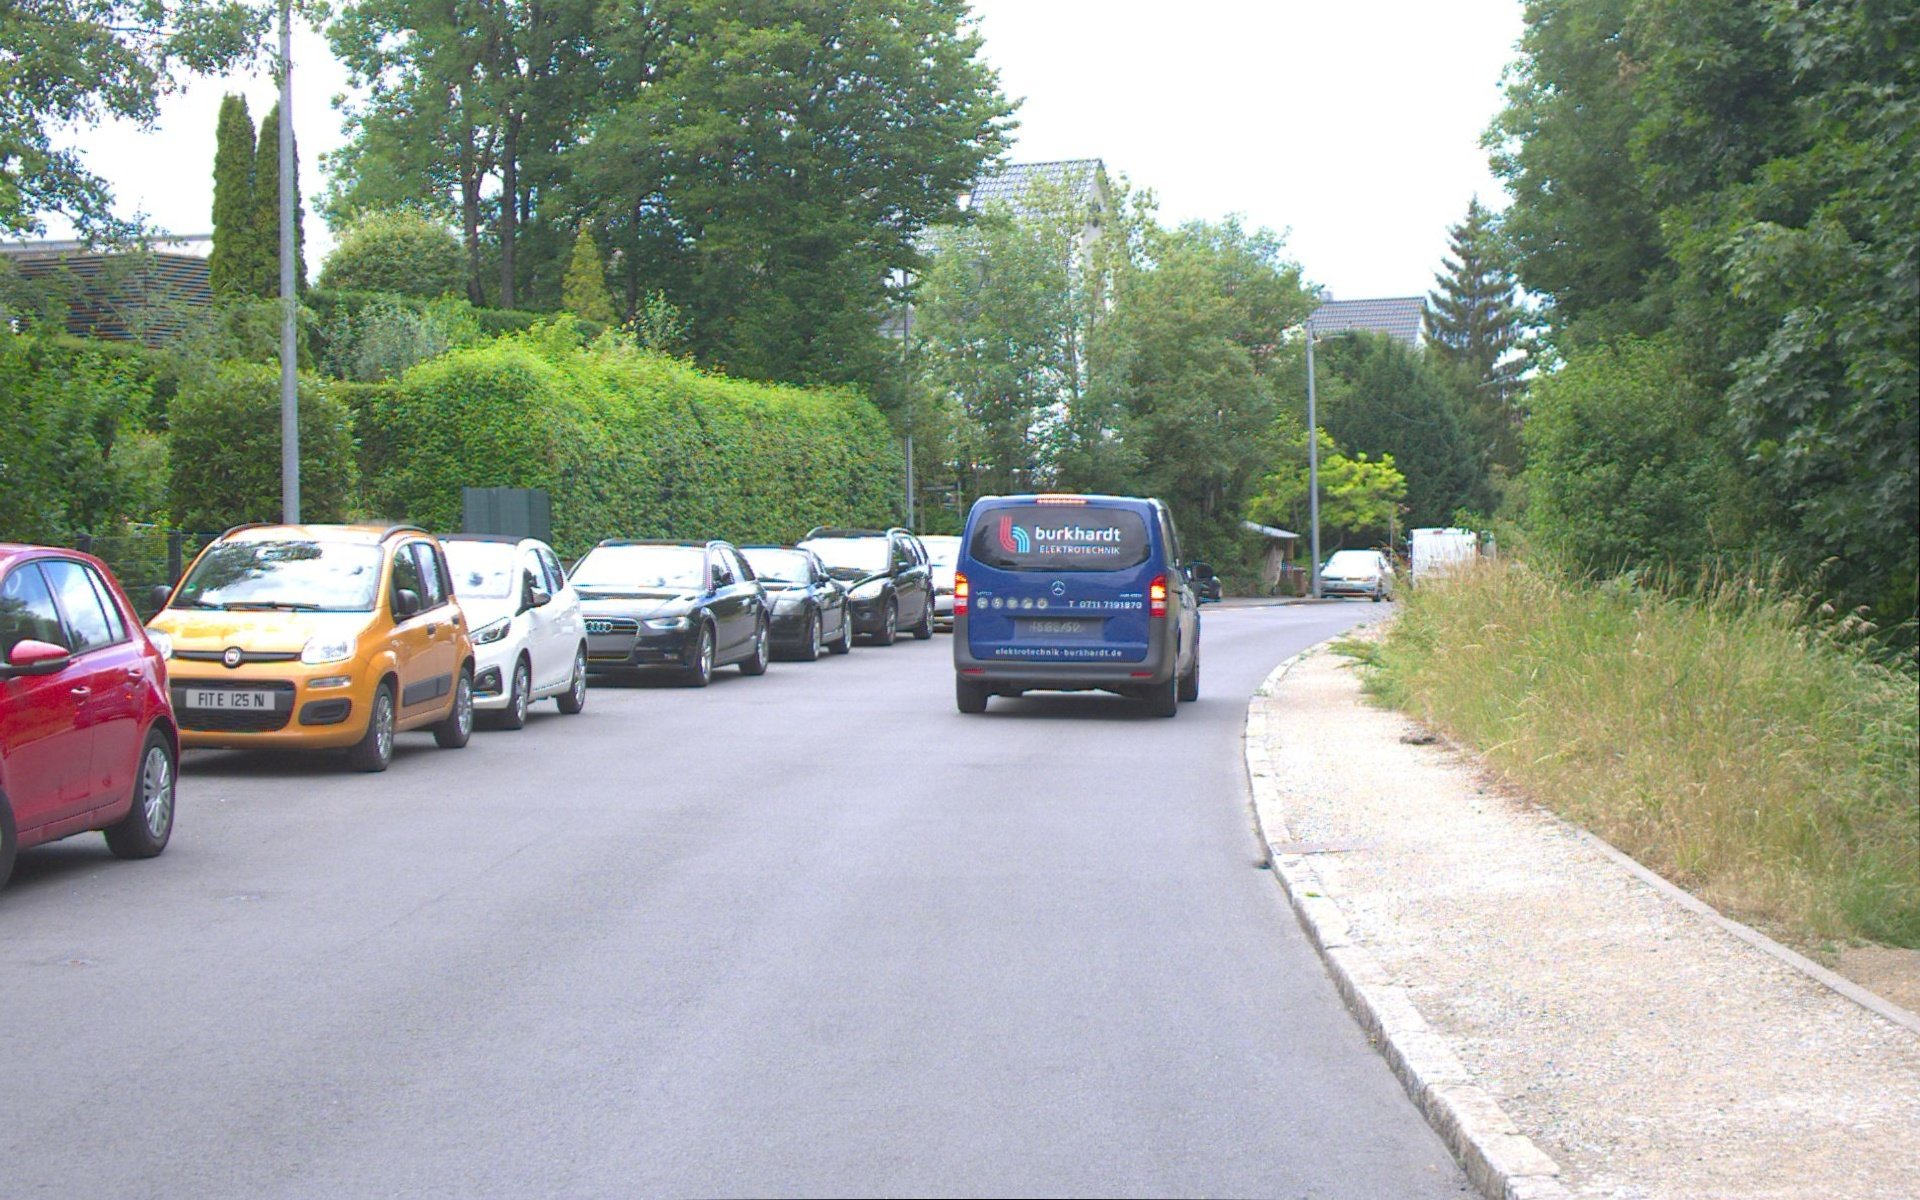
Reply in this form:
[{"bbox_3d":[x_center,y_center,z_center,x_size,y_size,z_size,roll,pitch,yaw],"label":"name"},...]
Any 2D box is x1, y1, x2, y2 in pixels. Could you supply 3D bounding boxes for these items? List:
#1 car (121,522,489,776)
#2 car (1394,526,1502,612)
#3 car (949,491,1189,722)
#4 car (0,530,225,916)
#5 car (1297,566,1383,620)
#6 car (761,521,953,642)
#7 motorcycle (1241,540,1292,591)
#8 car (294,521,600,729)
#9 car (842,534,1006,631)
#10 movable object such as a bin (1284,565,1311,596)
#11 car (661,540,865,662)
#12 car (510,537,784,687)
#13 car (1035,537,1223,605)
[{"bbox_3d":[-4.203,0.264,22.553,1.544,1.509,3.644,1,1,3],"label":"car"},{"bbox_3d":[12.146,-0.774,85.245,2.207,2.056,6.131,0,1,12],"label":"car"},{"bbox_3d":[1.008,0.010,30.434,1.936,1.873,4.530,1,1,3],"label":"car"},{"bbox_3d":[-4.556,0.456,14.654,1.707,1.509,4.363,1,1,3],"label":"car"},{"bbox_3d":[10.764,-0.188,97.223,1.707,1.463,4.072,1,0,16],"label":"car"},{"bbox_3d":[-1.344,-0.281,46.899,1.657,1.528,4.472,1,1,11],"label":"car"},{"bbox_3d":[8.986,-1.004,100.749,0.810,1.480,2.893,1,0,18],"label":"motorcycle"},{"bbox_3d":[-3.971,0.154,27.107,1.588,1.509,3.590,1,1,5],"label":"car"},{"bbox_3d":[-0.502,-0.294,52.270,1.775,1.369,4.339,1,1,9],"label":"car"},{"bbox_3d":[10.072,-0.586,102.607,0.591,0.906,0.700,1,0,23],"label":"movable object such as a bin"},{"bbox_3d":[-2.301,-0.025,41.087,1.711,1.336,4.107,1,1,7],"label":"car"},{"bbox_3d":[-3.057,0.075,34.546,1.719,1.380,4.662,1,1,8],"label":"car"},{"bbox_3d":[3.842,-0.656,77.965,4.167,1.442,1.740,1,0,5],"label":"car"}]
